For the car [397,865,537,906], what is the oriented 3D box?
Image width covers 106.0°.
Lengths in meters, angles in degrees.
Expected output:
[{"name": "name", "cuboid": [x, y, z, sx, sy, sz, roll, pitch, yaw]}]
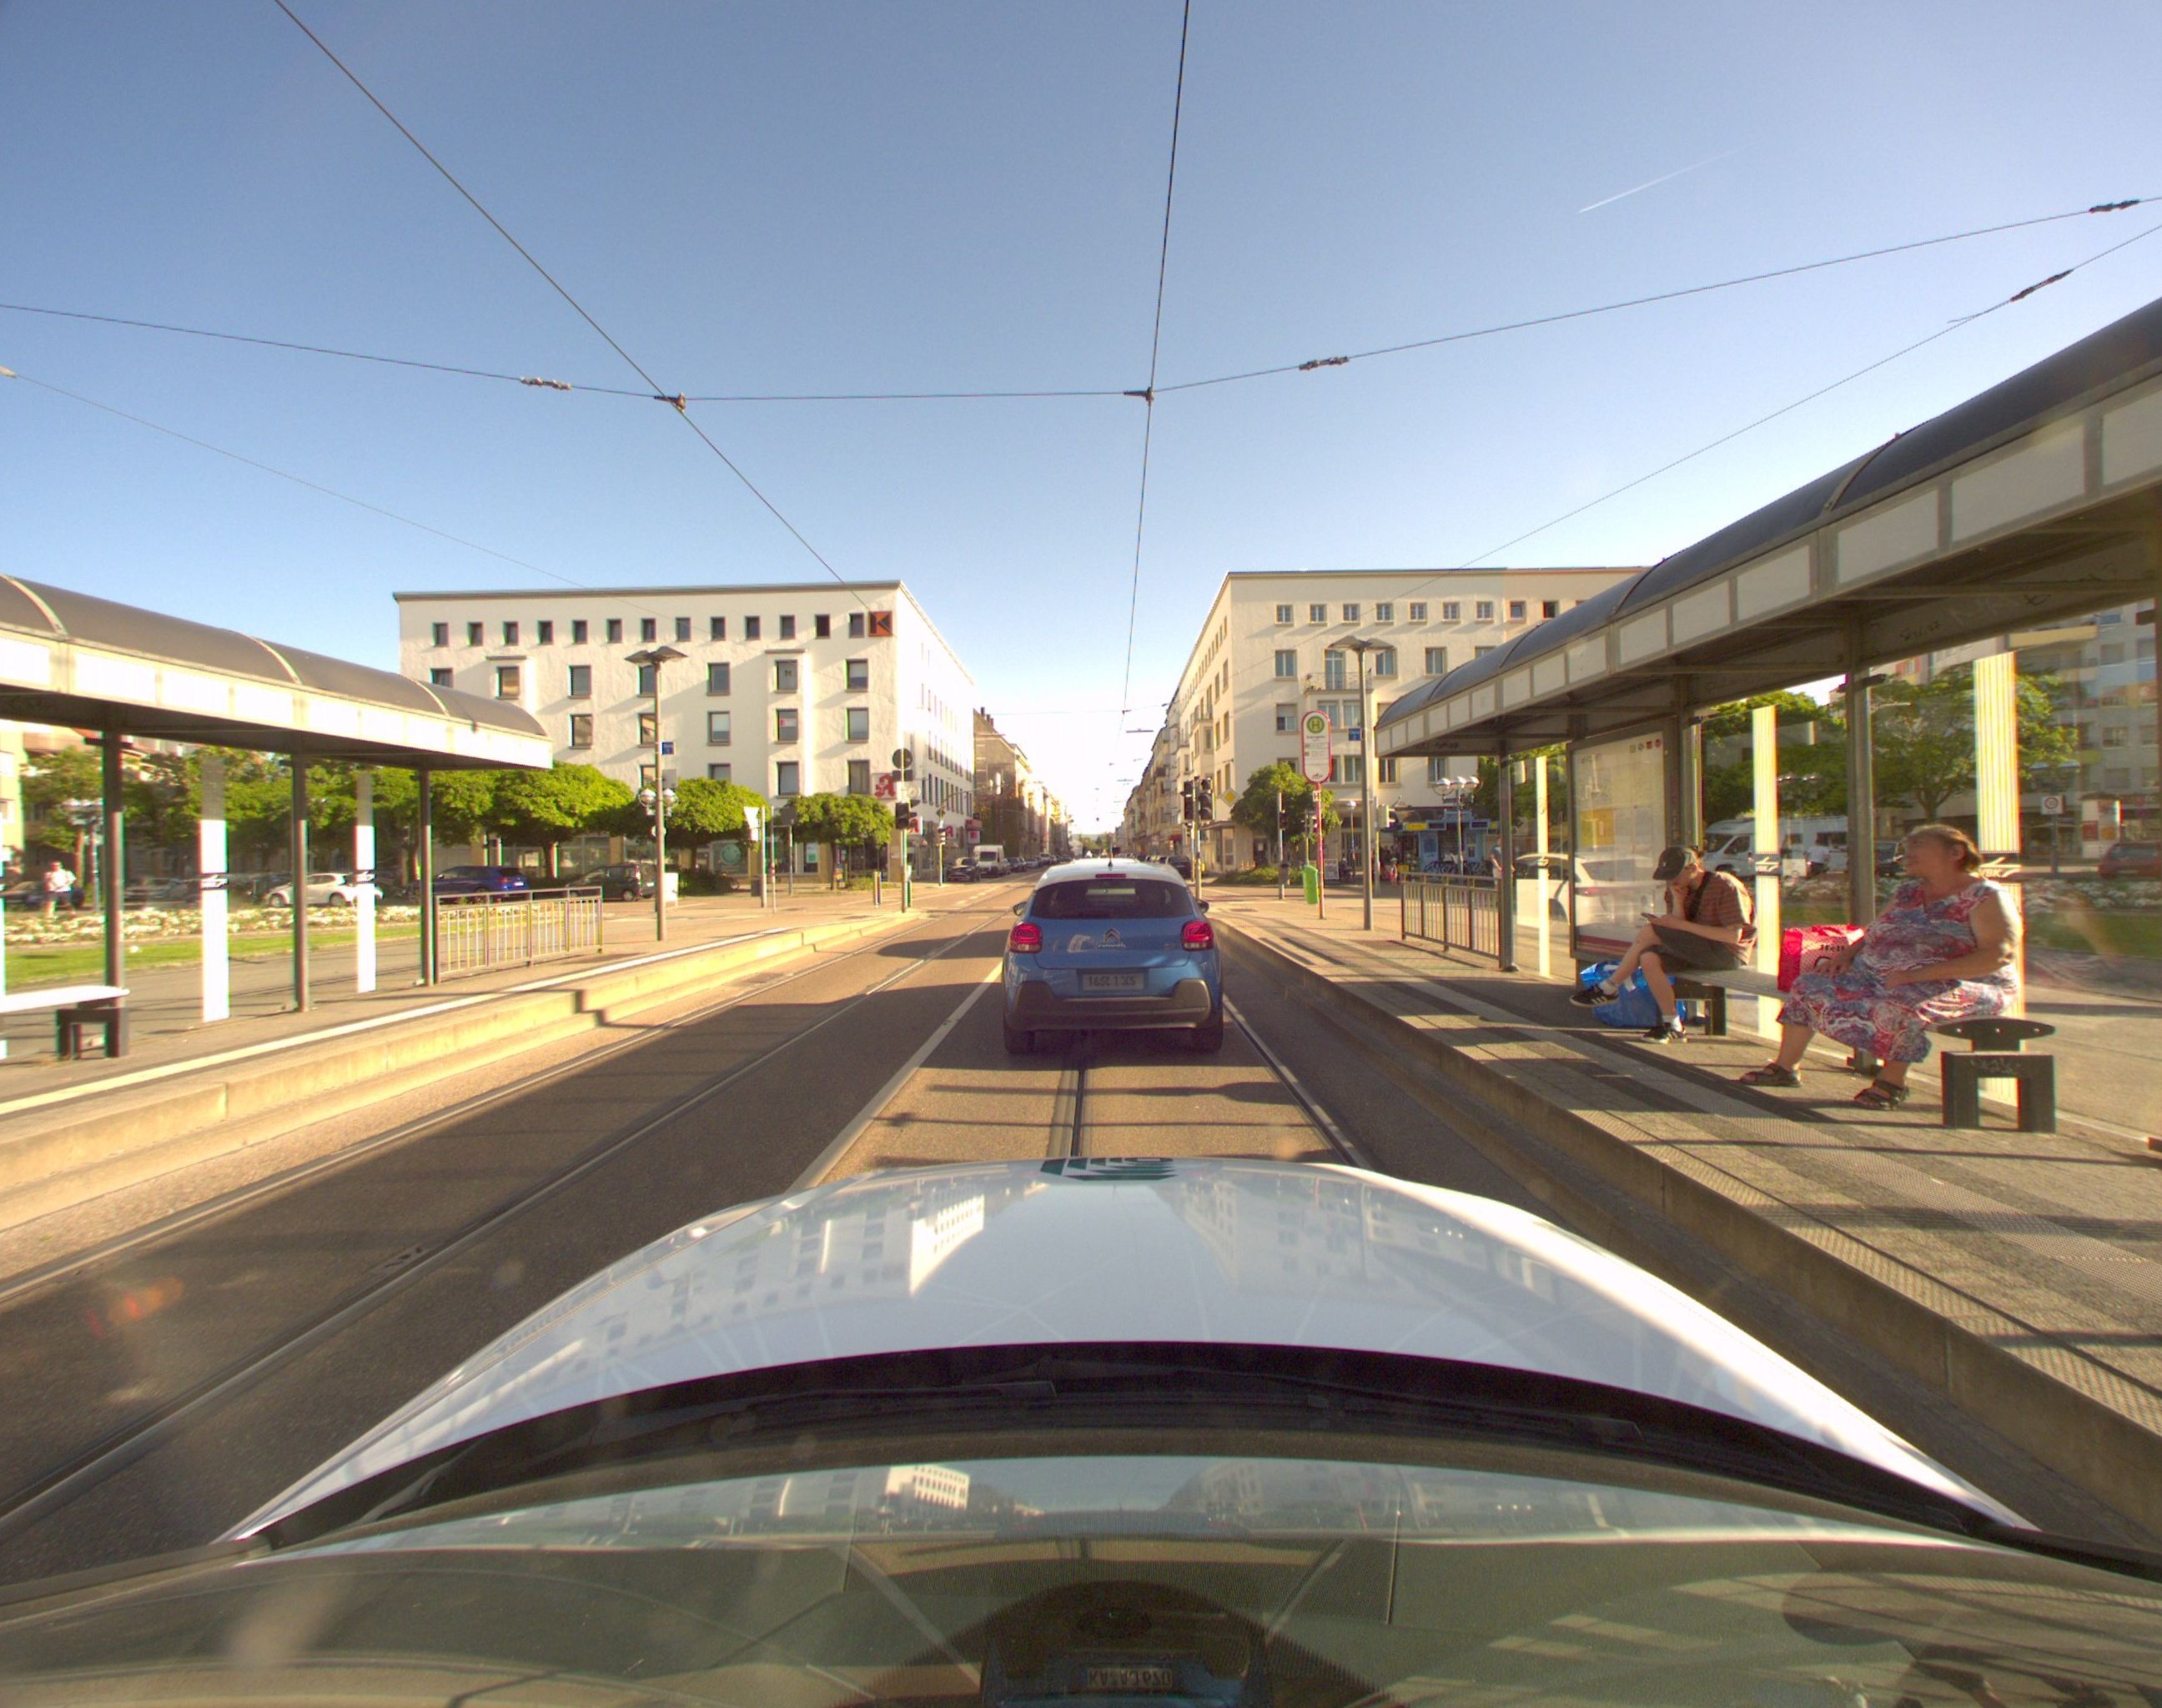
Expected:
[{"name": "car", "cuboid": [-27.187, 1.366, 36.169, 4.591, 1.662, 1.999, -1, 0, -1]}]

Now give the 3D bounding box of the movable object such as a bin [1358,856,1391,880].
[{"name": "movable object such as a bin", "cuboid": [14.416, 0.676, 40.049, 1.194, 1.153, 1.218, -1, 0, 2]}]

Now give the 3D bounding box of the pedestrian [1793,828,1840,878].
[{"name": "pedestrian", "cuboid": [24.000, -0.042, 26.600, 0.897, 1.585, 0.663, -1, 0, 5]}]

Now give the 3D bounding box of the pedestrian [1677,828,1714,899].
[{"name": "pedestrian", "cuboid": [15.309, 0.228, 20.305, 0.554, 1.745, 0.528, 0, -1, 12]}]

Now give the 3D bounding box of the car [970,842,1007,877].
[{"name": "car", "cuboid": [-7.125, 0.417, 63.114, 2.078, 2.542, 6.206, 0, 0, 1]}]

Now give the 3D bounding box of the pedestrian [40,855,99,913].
[{"name": "pedestrian", "cuboid": [-32.826, 0.964, 26.439, 0.938, 1.817, 0.872, -1, 0, 13]}]

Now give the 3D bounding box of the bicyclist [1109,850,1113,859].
[{"name": "bicyclist", "cuboid": [6.395, 0.096, 174.132, 0.807, 2.014, 0.922, 0, -1, -1]}]

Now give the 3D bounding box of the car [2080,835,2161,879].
[{"name": "car", "cuboid": [38.635, 0.062, 29.056, 3.983, 1.486, 1.995, -1, 0, -7]}]

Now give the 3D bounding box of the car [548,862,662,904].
[{"name": "car", "cuboid": [-21.246, 1.270, 36.428, 3.973, 1.706, 1.826, -1, 0, 1]}]

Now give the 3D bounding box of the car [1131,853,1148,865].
[{"name": "car", "cuboid": [7.273, 0.582, 102.039, 1.986, 1.464, 4.507, -1, 0, 2]}]

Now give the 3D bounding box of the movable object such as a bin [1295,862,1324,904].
[{"name": "movable object such as a bin", "cuboid": [4.349, 0.546, 15.513, 0.447, 0.786, 0.489, -1, 0, 4]}]

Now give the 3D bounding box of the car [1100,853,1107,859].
[{"name": "car", "cuboid": [6.058, 0.508, 219.200, 1.986, 1.772, 4.002, -1, 0, 2]}]

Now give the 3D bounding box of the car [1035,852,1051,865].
[{"name": "car", "cuboid": [-5.876, 0.707, 127.218, 1.997, 2.014, 4.694, 0, -1, 4]}]

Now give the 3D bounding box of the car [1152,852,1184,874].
[{"name": "car", "cuboid": [6.114, 0.642, 57.414, 1.986, 1.464, 4.002, -1, 0, 2]}]

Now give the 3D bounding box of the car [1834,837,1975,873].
[{"name": "car", "cuboid": [36.665, 0.066, 36.387, 3.959, 1.511, 2.007, 0, -1, 13]}]

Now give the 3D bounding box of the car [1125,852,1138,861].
[{"name": "car", "cuboid": [8.274, 0.442, 133.264, 1.986, 1.464, 4.002, -1, 0, 2]}]

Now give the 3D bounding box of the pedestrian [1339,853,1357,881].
[{"name": "pedestrian", "cuboid": [12.754, 0.609, 38.858, 0.733, 1.316, 0.631, -1, 0, 25]}]

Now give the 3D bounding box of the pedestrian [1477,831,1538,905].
[{"name": "pedestrian", "cuboid": [11.245, 0.365, 21.528, 0.978, 1.878, 1.128, -1, -1, -1]}]

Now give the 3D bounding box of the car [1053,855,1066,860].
[{"name": "car", "cuboid": [-4.868, 0.769, 185.206, 1.981, 1.156, 4.528, -1, 0, 11]}]

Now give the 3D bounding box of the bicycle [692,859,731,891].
[{"name": "bicycle", "cuboid": [-19.833, 1.105, 43.745, 0.614, 1.607, 2.625, -1, 0, 6]}]

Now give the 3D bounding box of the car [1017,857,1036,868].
[{"name": "car", "cuboid": [-6.907, 1.101, 103.554, 1.987, 1.325, 3.923, 0, -1, 1]}]

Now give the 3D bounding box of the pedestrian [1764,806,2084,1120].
[{"name": "pedestrian", "cuboid": [3.926, 0.474, 3.853, 0.855, 1.334, 0.623, 2, -1, 1]}]

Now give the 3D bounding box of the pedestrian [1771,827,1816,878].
[{"name": "pedestrian", "cuboid": [24.235, -0.049, 27.702, 0.897, 1.685, 0.696, -1, 0, 5]}]

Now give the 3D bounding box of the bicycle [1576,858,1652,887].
[{"name": "bicycle", "cuboid": [20.286, 0.706, 31.044, 2.299, 1.061, 0.723, 1, 0, 13]}]

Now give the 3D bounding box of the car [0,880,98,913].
[{"name": "car", "cuboid": [-52.302, 2.105, 41.064, 1.925, 1.494, 4.314, 0, -1, -27]}]

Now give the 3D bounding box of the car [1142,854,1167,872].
[{"name": "car", "cuboid": [6.547, 0.787, 72.693, 1.986, 1.464, 4.002, -1, 0, 2]}]

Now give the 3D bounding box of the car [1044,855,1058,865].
[{"name": "car", "cuboid": [-5.069, 1.003, 137.577, 1.946, 1.552, 3.942, 0, -1, 4]}]

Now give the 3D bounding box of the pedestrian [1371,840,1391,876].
[{"name": "pedestrian", "cuboid": [15.531, 0.229, 42.215, 0.781, 1.839, 0.679, -1, 0, 5]}]

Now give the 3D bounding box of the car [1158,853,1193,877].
[{"name": "car", "cuboid": [6.065, 0.701, 52.531, 1.902, 1.464, 4.002, -1, 0, 2]}]

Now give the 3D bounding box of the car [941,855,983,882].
[{"name": "car", "cuboid": [-7.657, 0.916, 52.755, 1.987, 1.569, 4.403, 2, -1, 1]}]

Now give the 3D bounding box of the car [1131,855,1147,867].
[{"name": "car", "cuboid": [7.557, 0.930, 106.392, 1.985, 1.464, 4.003, -1, 0, 3]}]

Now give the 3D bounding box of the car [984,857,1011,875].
[{"name": "car", "cuboid": [-7.110, 0.993, 69.902, 1.881, 1.496, 3.562, 0, -1, 1]}]

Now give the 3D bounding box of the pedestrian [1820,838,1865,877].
[{"name": "pedestrian", "cuboid": [25.049, 0.116, 26.796, 0.897, 1.279, 0.605, -1, 0, 5]}]

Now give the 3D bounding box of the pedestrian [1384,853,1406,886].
[{"name": "pedestrian", "cuboid": [14.048, 0.694, 36.409, 0.727, 1.409, 0.755, -1, 3, 2]}]

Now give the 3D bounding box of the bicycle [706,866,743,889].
[{"name": "bicycle", "cuboid": [-19.109, 1.244, 43.703, 0.615, 1.190, 2.624, -1, 0, 5]}]

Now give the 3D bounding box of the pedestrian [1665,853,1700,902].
[{"name": "pedestrian", "cuboid": [14.712, 0.568, 19.928, 0.466, 1.169, 0.559, 0, -1, 10]}]

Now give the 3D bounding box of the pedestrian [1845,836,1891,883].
[{"name": "pedestrian", "cuboid": [26.999, 0.181, 27.965, 0.897, 1.585, 0.663, -1, 0, 5]}]

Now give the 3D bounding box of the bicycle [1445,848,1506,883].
[{"name": "bicycle", "cuboid": [17.718, 0.518, 36.576, 2.376, 1.531, 0.726, 1, 0, 0]}]

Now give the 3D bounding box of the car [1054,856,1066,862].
[{"name": "car", "cuboid": [-3.909, 0.939, 154.555, 1.986, 1.156, 4.002, -1, 0, 2]}]

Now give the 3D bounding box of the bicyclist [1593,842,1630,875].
[{"name": "bicyclist", "cuboid": [20.216, 0.161, 31.061, 0.924, 1.225, 0.957, 1, 0, 13]}]

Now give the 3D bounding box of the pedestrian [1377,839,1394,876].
[{"name": "pedestrian", "cuboid": [15.429, 0.162, 41.258, 0.650, 1.839, 0.660, -1, 0, 5]}]

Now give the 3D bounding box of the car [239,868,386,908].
[{"name": "car", "cuboid": [-33.516, 1.469, 35.597, 4.591, 1.606, 1.855, -1, 0, -1]}]

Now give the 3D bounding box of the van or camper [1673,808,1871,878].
[{"name": "van or camper", "cuboid": [30.121, -0.468, 35.707, 6.375, 2.839, 2.381, -1, 0, 5]}]

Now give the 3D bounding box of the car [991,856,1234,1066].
[{"name": "car", "cuboid": [0.277, 0.762, 7.694, 1.721, 1.482, 3.828, 0, 0, 2]}]

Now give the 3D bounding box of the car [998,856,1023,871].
[{"name": "car", "cuboid": [-6.759, 0.892, 78.481, 1.987, 1.398, 4.157, 0, -1, 1]}]

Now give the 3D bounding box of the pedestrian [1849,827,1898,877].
[{"name": "pedestrian", "cuboid": [25.574, -0.058, 26.305, 0.897, 1.585, 0.663, -1, 0, 5]}]

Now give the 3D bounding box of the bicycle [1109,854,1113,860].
[{"name": "bicycle", "cuboid": [6.422, 0.667, 174.456, 0.916, 1.389, 3.133, -1, 0, 2]}]

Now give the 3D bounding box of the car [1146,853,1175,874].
[{"name": "car", "cuboid": [6.101, 0.699, 63.005, 1.986, 1.501, 4.002, -1, 0, 2]}]

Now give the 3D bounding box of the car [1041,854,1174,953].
[{"name": "car", "cuboid": [0.471, 0.737, 14.548, 1.977, 1.464, 4.817, 0, 0, 2]}]

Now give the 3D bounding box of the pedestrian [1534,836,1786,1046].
[{"name": "pedestrian", "cuboid": [3.721, 0.525, 5.335, 0.995, 1.225, 0.923, 2, -1, 1]}]

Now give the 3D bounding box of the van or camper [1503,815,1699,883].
[{"name": "van or camper", "cuboid": [22.859, -0.229, 36.055, 7.093, 2.747, 2.372, -1, 1, 2]}]
